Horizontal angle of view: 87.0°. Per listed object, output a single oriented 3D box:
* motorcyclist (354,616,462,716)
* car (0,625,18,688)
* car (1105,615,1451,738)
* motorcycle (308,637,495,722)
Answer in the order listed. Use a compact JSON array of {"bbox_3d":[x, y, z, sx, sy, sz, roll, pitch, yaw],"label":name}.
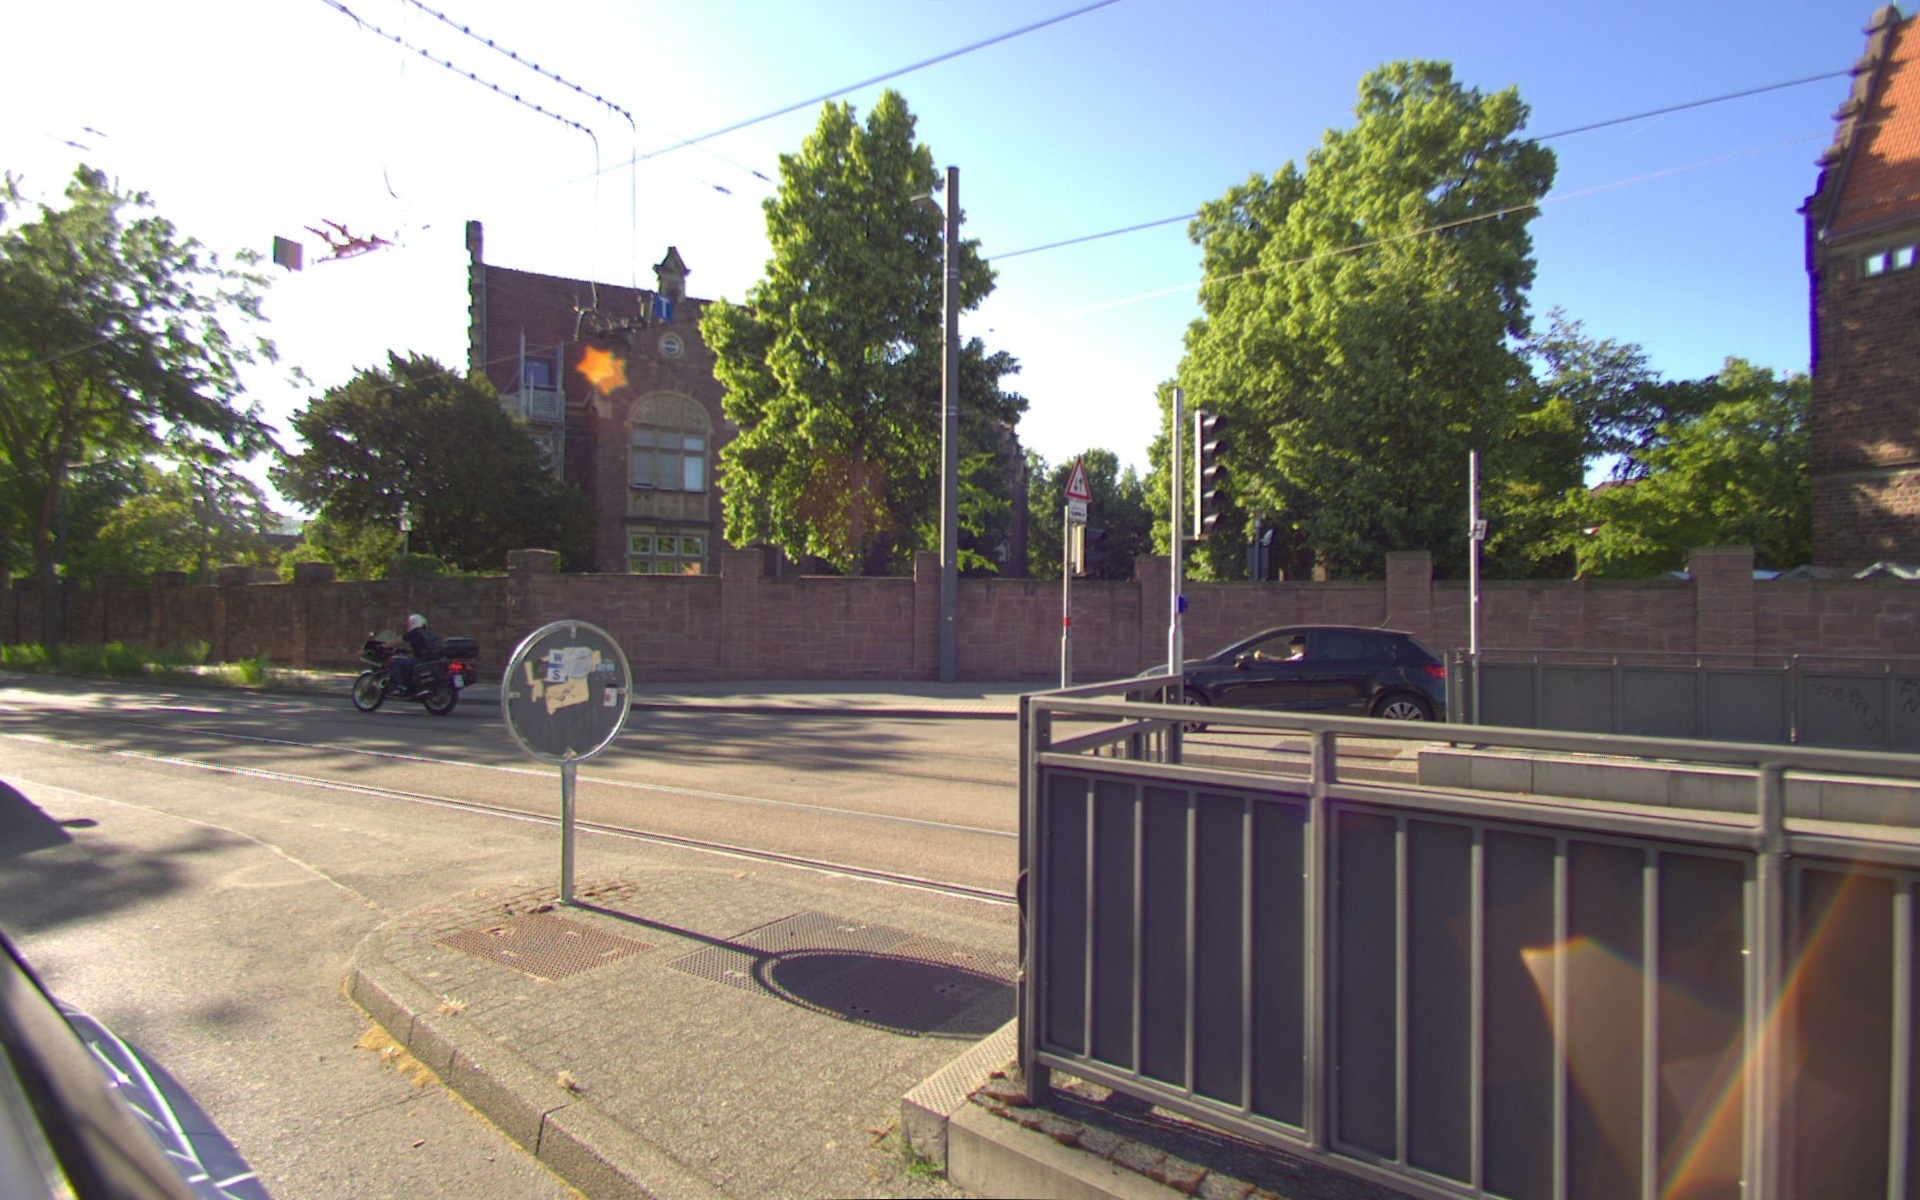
[{"bbox_3d":[-8.894,1.033,16.349,1.044,1.536,1.124,0,-1,13],"label":"motorcyclist"},{"bbox_3d":[-23.918,1.347,23.677,4.614,1.426,1.866,-3,-4,36],"label":"car"},{"bbox_3d":[3.982,1.018,13.121,3.947,1.414,1.851,-2,-6,16],"label":"car"},{"bbox_3d":[-9.001,1.252,16.368,2.547,1.253,1.129,0,-1,13],"label":"motorcycle"}]
